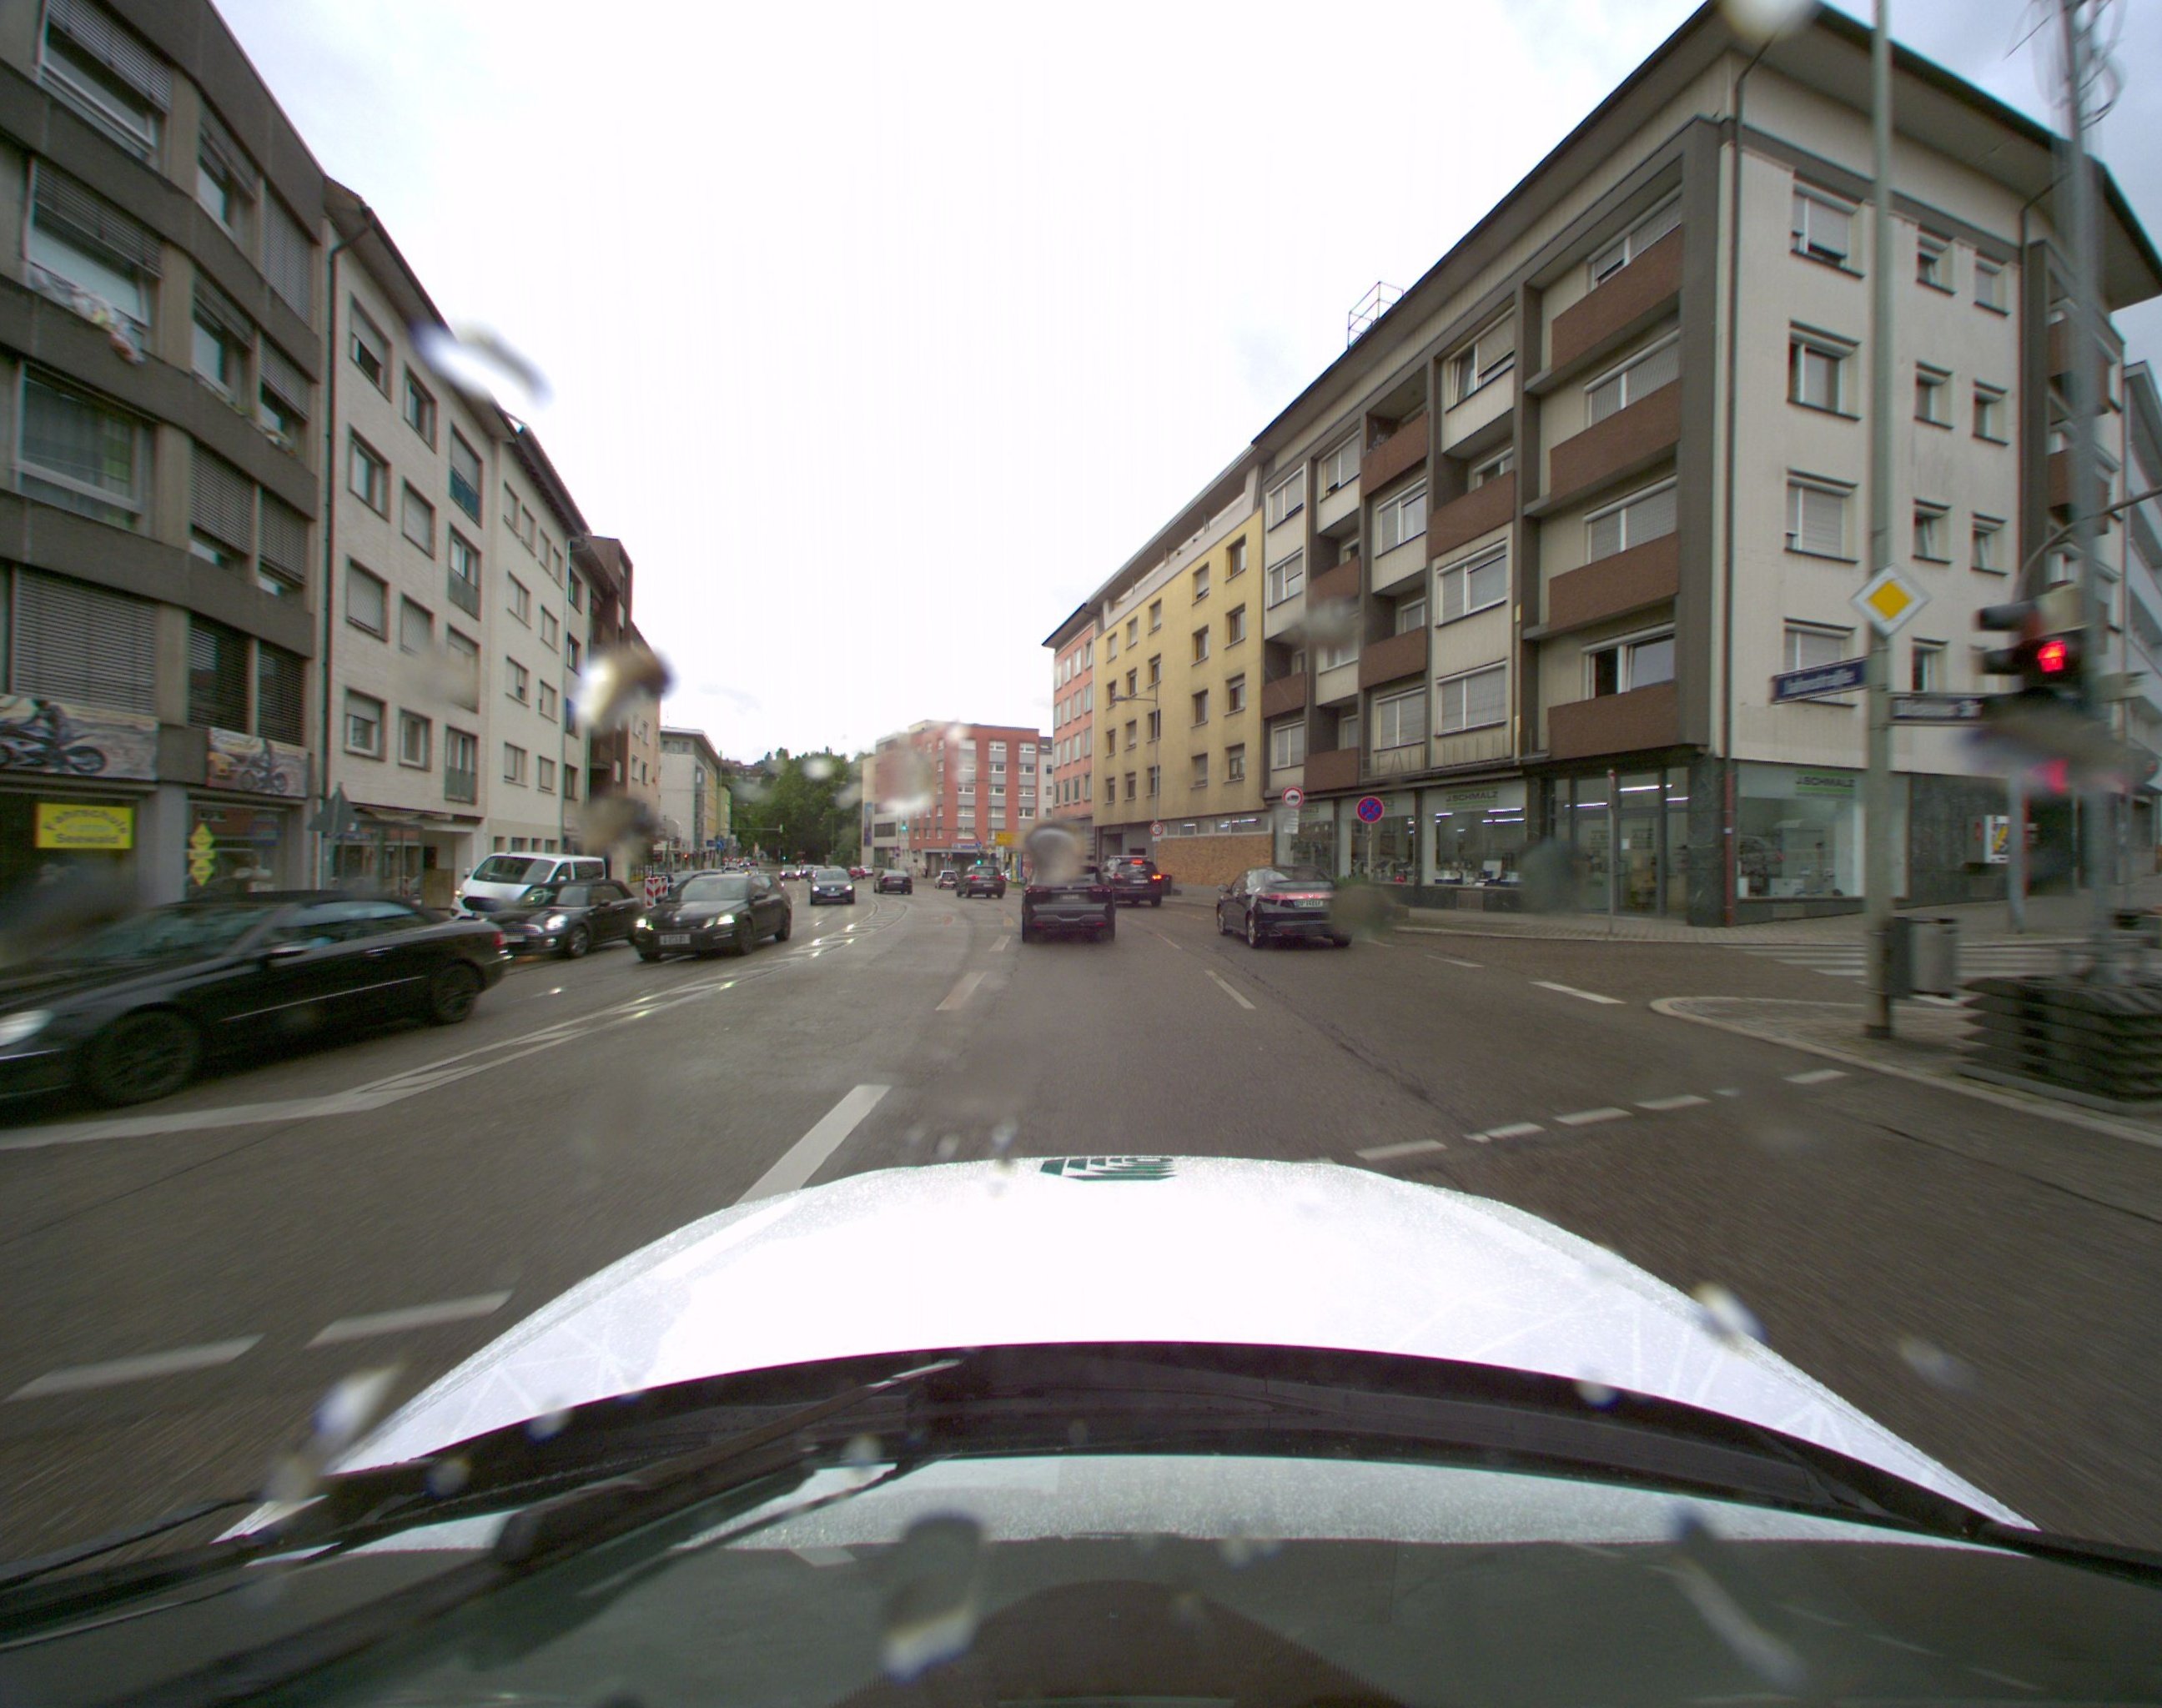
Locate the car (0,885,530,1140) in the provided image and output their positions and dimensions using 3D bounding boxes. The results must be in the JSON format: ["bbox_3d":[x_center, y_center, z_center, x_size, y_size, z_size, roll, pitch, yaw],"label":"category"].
[{"bbox_3d":[-7.170,1.022,6.933,1.819,1.366,4.602,-1,-1,0],"label":"car"}]

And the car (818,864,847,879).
[{"bbox_3d":[-26.582,1.833,86.972,1.869,1.553,4.183,0,-1,-32],"label":"car"}]

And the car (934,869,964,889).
[{"bbox_3d":[-11.103,2.076,68.251,1.998,1.486,3.977,2,-1,-17],"label":"car"}]

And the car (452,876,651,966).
[{"bbox_3d":[-10.028,1.197,15.787,1.719,1.399,3.587,-2,0,-6],"label":"car"}]

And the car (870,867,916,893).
[{"bbox_3d":[-11.137,1.512,48.038,2.001,1.388,4.468,3,-1,-21],"label":"car"}]

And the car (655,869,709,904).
[{"bbox_3d":[-18.475,1.451,37.872,1.890,1.477,4.942,-1,0,-22],"label":"car"}]

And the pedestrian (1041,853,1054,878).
[{"bbox_3d":[-2.430,0.843,58.381,0.674,1.788,1.089,1,-1,-17],"label":"pedestrian"}]

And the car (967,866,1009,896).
[{"bbox_3d":[-6.153,1.731,53.688,1.951,1.816,3.975,-2,0,-18],"label":"car"}]

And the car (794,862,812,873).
[{"bbox_3d":[-36.146,1.761,105.861,1.829,1.433,4.363,0,-1,-24],"label":"car"}]

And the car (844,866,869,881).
[{"bbox_3d":[-25.900,2.250,93.749,2.004,1.530,3.966,3,-1,-26],"label":"car"}]

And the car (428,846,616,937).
[{"bbox_3d":[-14.204,0.946,21.165,2.120,2.015,5.106,3,-2,-12],"label":"car"}]

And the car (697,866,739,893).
[{"bbox_3d":[-22.589,1.566,50.762,1.913,1.554,4.601,-1,-1,-18],"label":"car"}]

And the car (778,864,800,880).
[{"bbox_3d":[-30.778,1.893,85.862,1.871,1.647,4.220,-1,-1,-24],"label":"car"}]

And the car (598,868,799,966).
[{"bbox_3d":[-6.911,1.045,15.340,1.981,1.459,4.477,-2,0,-6],"label":"car"}]

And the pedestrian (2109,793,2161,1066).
[{"bbox_3d":[7.016,0.458,4.867,0.784,1.688,0.826,-3,-3,33],"label":"pedestrian"}]

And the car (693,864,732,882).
[{"bbox_3d":[-36.710,1.895,81.285,1.673,1.706,4.005,2,-1,5],"label":"car"}]

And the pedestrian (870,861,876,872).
[{"bbox_3d":[-31.641,1.880,124.027,0.617,1.737,0.674,-1,0,-35],"label":"pedestrian"}]

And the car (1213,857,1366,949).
[{"bbox_3d":[3.777,0.826,15.477,1.779,1.497,4.054,-1,-1,-1],"label":"car"}]

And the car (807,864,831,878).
[{"bbox_3d":[-29.537,1.917,91.774,1.945,1.527,4.098,0,-1,-27],"label":"car"}]

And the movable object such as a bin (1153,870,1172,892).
[{"bbox_3d":[3.989,1.309,39.754,0.683,1.077,0.664,0,-1,-20],"label":"movable object such as a bin"}]

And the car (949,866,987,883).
[{"bbox_3d":[-10.969,1.997,79.574,1.977,1.519,4.019,2,-1,19],"label":"car"}]

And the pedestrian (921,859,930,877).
[{"bbox_3d":[-19.166,1.746,100.366,0.828,2.158,0.764,3,-1,-22],"label":"pedestrian"}]

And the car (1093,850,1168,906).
[{"bbox_3d":[1.718,0.839,30.045,2.018,1.869,4.889,0,-1,-6],"label":"car"}]

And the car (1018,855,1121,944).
[{"bbox_3d":[-0.351,0.852,17.136,1.891,1.629,3.994,-1,0,-4],"label":"car"}]

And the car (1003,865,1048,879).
[{"bbox_3d":[-6.168,1.952,90.609,4.671,1.486,1.905,0,-1,-24],"label":"car"}]

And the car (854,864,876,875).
[{"bbox_3d":[-30.594,2.176,115.298,1.785,1.401,4.536,-1,0,-30],"label":"car"}]

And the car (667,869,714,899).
[{"bbox_3d":[-20.579,1.526,43.044,2.002,1.477,4.484,0,-1,-23],"label":"car"}]

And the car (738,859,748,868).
[{"bbox_3d":[-76.168,2.072,183.357,2.001,1.860,3.971,3,-1,-22],"label":"car"}]

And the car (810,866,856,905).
[{"bbox_3d":[-10.371,1.271,34.119,1.687,1.473,3.977,-2,0,-16],"label":"car"}]

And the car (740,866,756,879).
[{"bbox_3d":[-41.121,2.269,100.517,1.700,1.627,3.969,-1,-1,-23],"label":"car"}]

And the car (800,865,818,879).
[{"bbox_3d":[-32.534,2.144,97.346,1.828,1.608,4.396,0,-1,-23],"label":"car"}]

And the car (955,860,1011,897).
[{"bbox_3d":[-5.017,1.203,41.213,1.952,1.685,3.973,-2,0,-20],"label":"car"}]
